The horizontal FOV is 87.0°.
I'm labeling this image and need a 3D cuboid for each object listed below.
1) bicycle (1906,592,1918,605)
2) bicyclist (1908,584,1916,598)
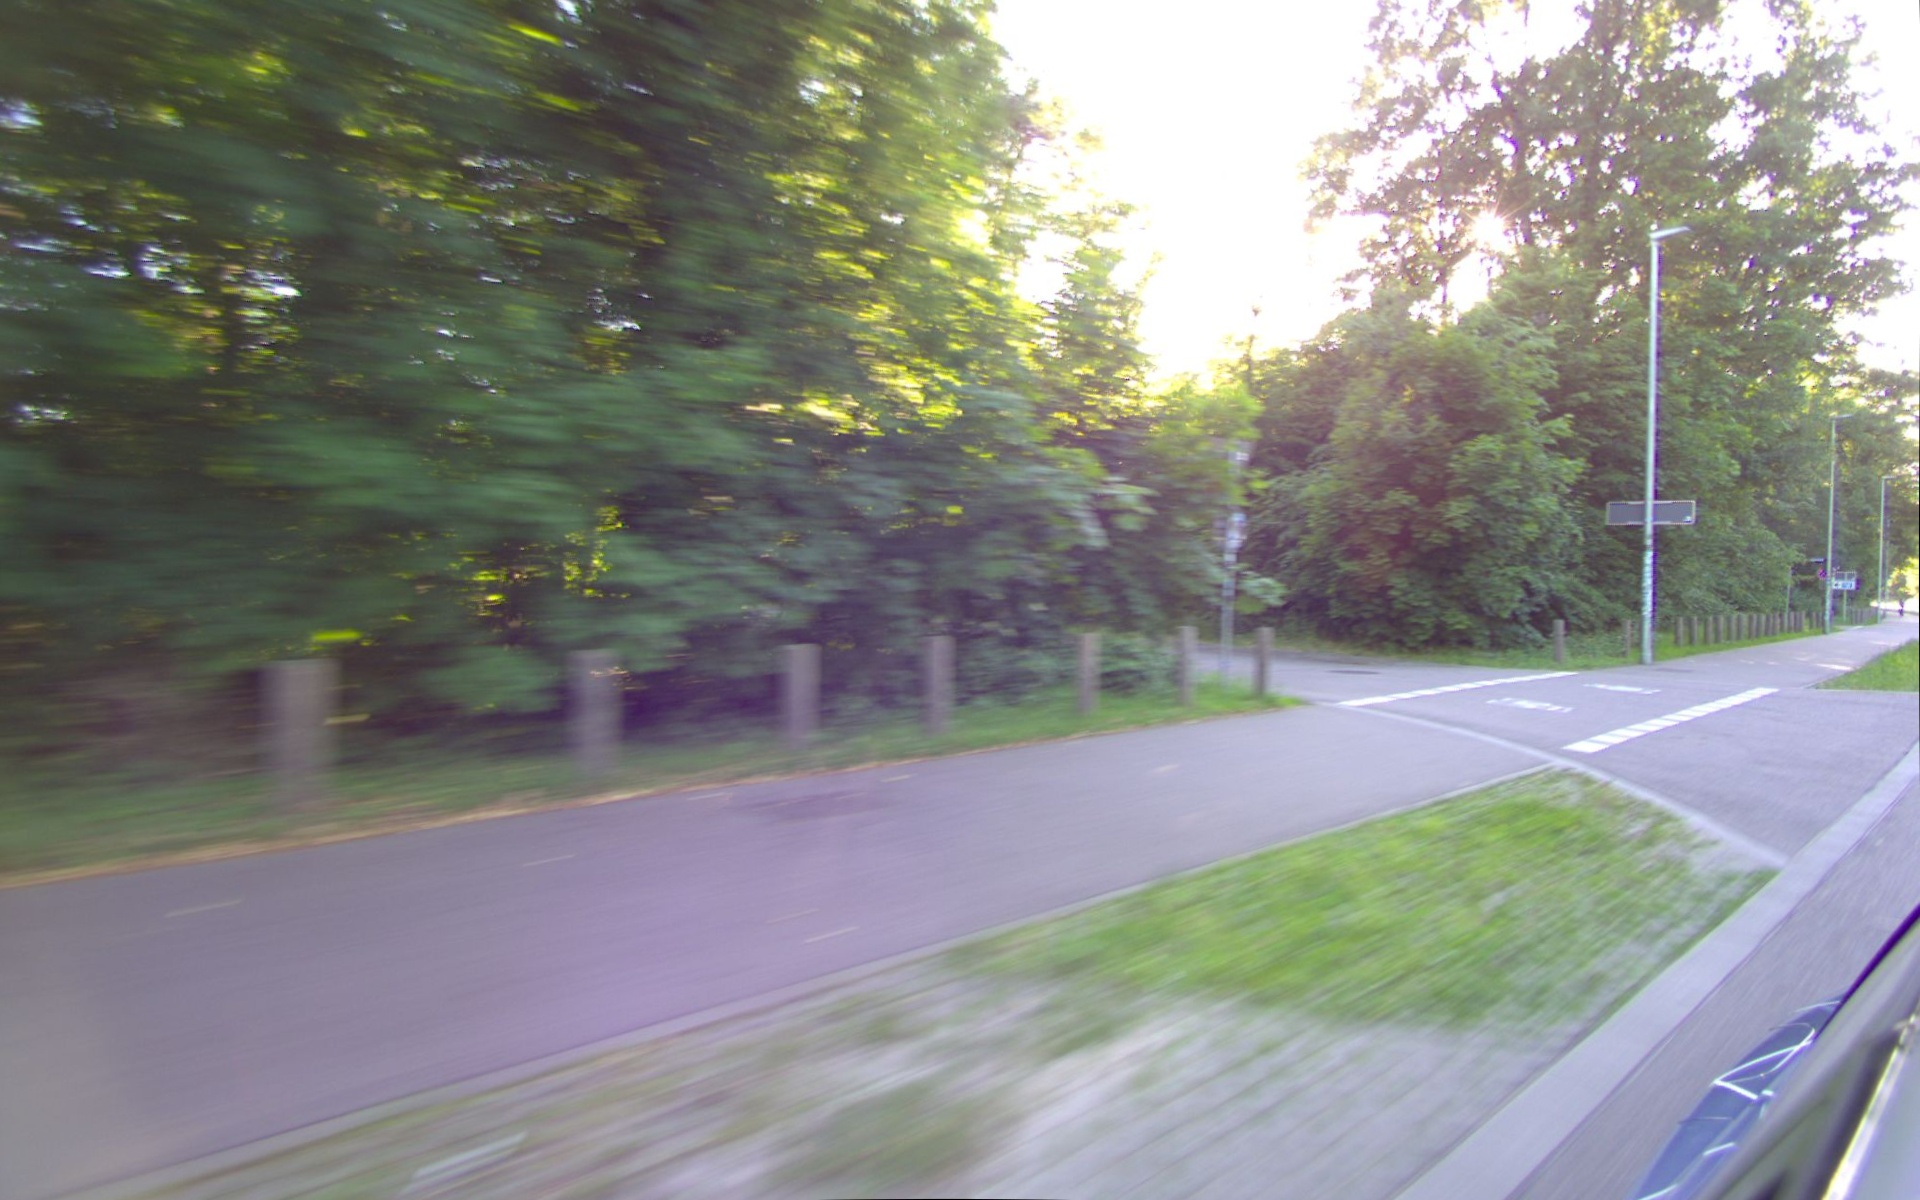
[{"bbox_3d":[83.431,-0.137,88.680,0.606,1.070,2.833,1,1,40],"label":"bicycle"},{"bbox_3d":[83.438,-0.785,88.692,0.512,1.283,0.490,1,1,41],"label":"bicyclist"}]
